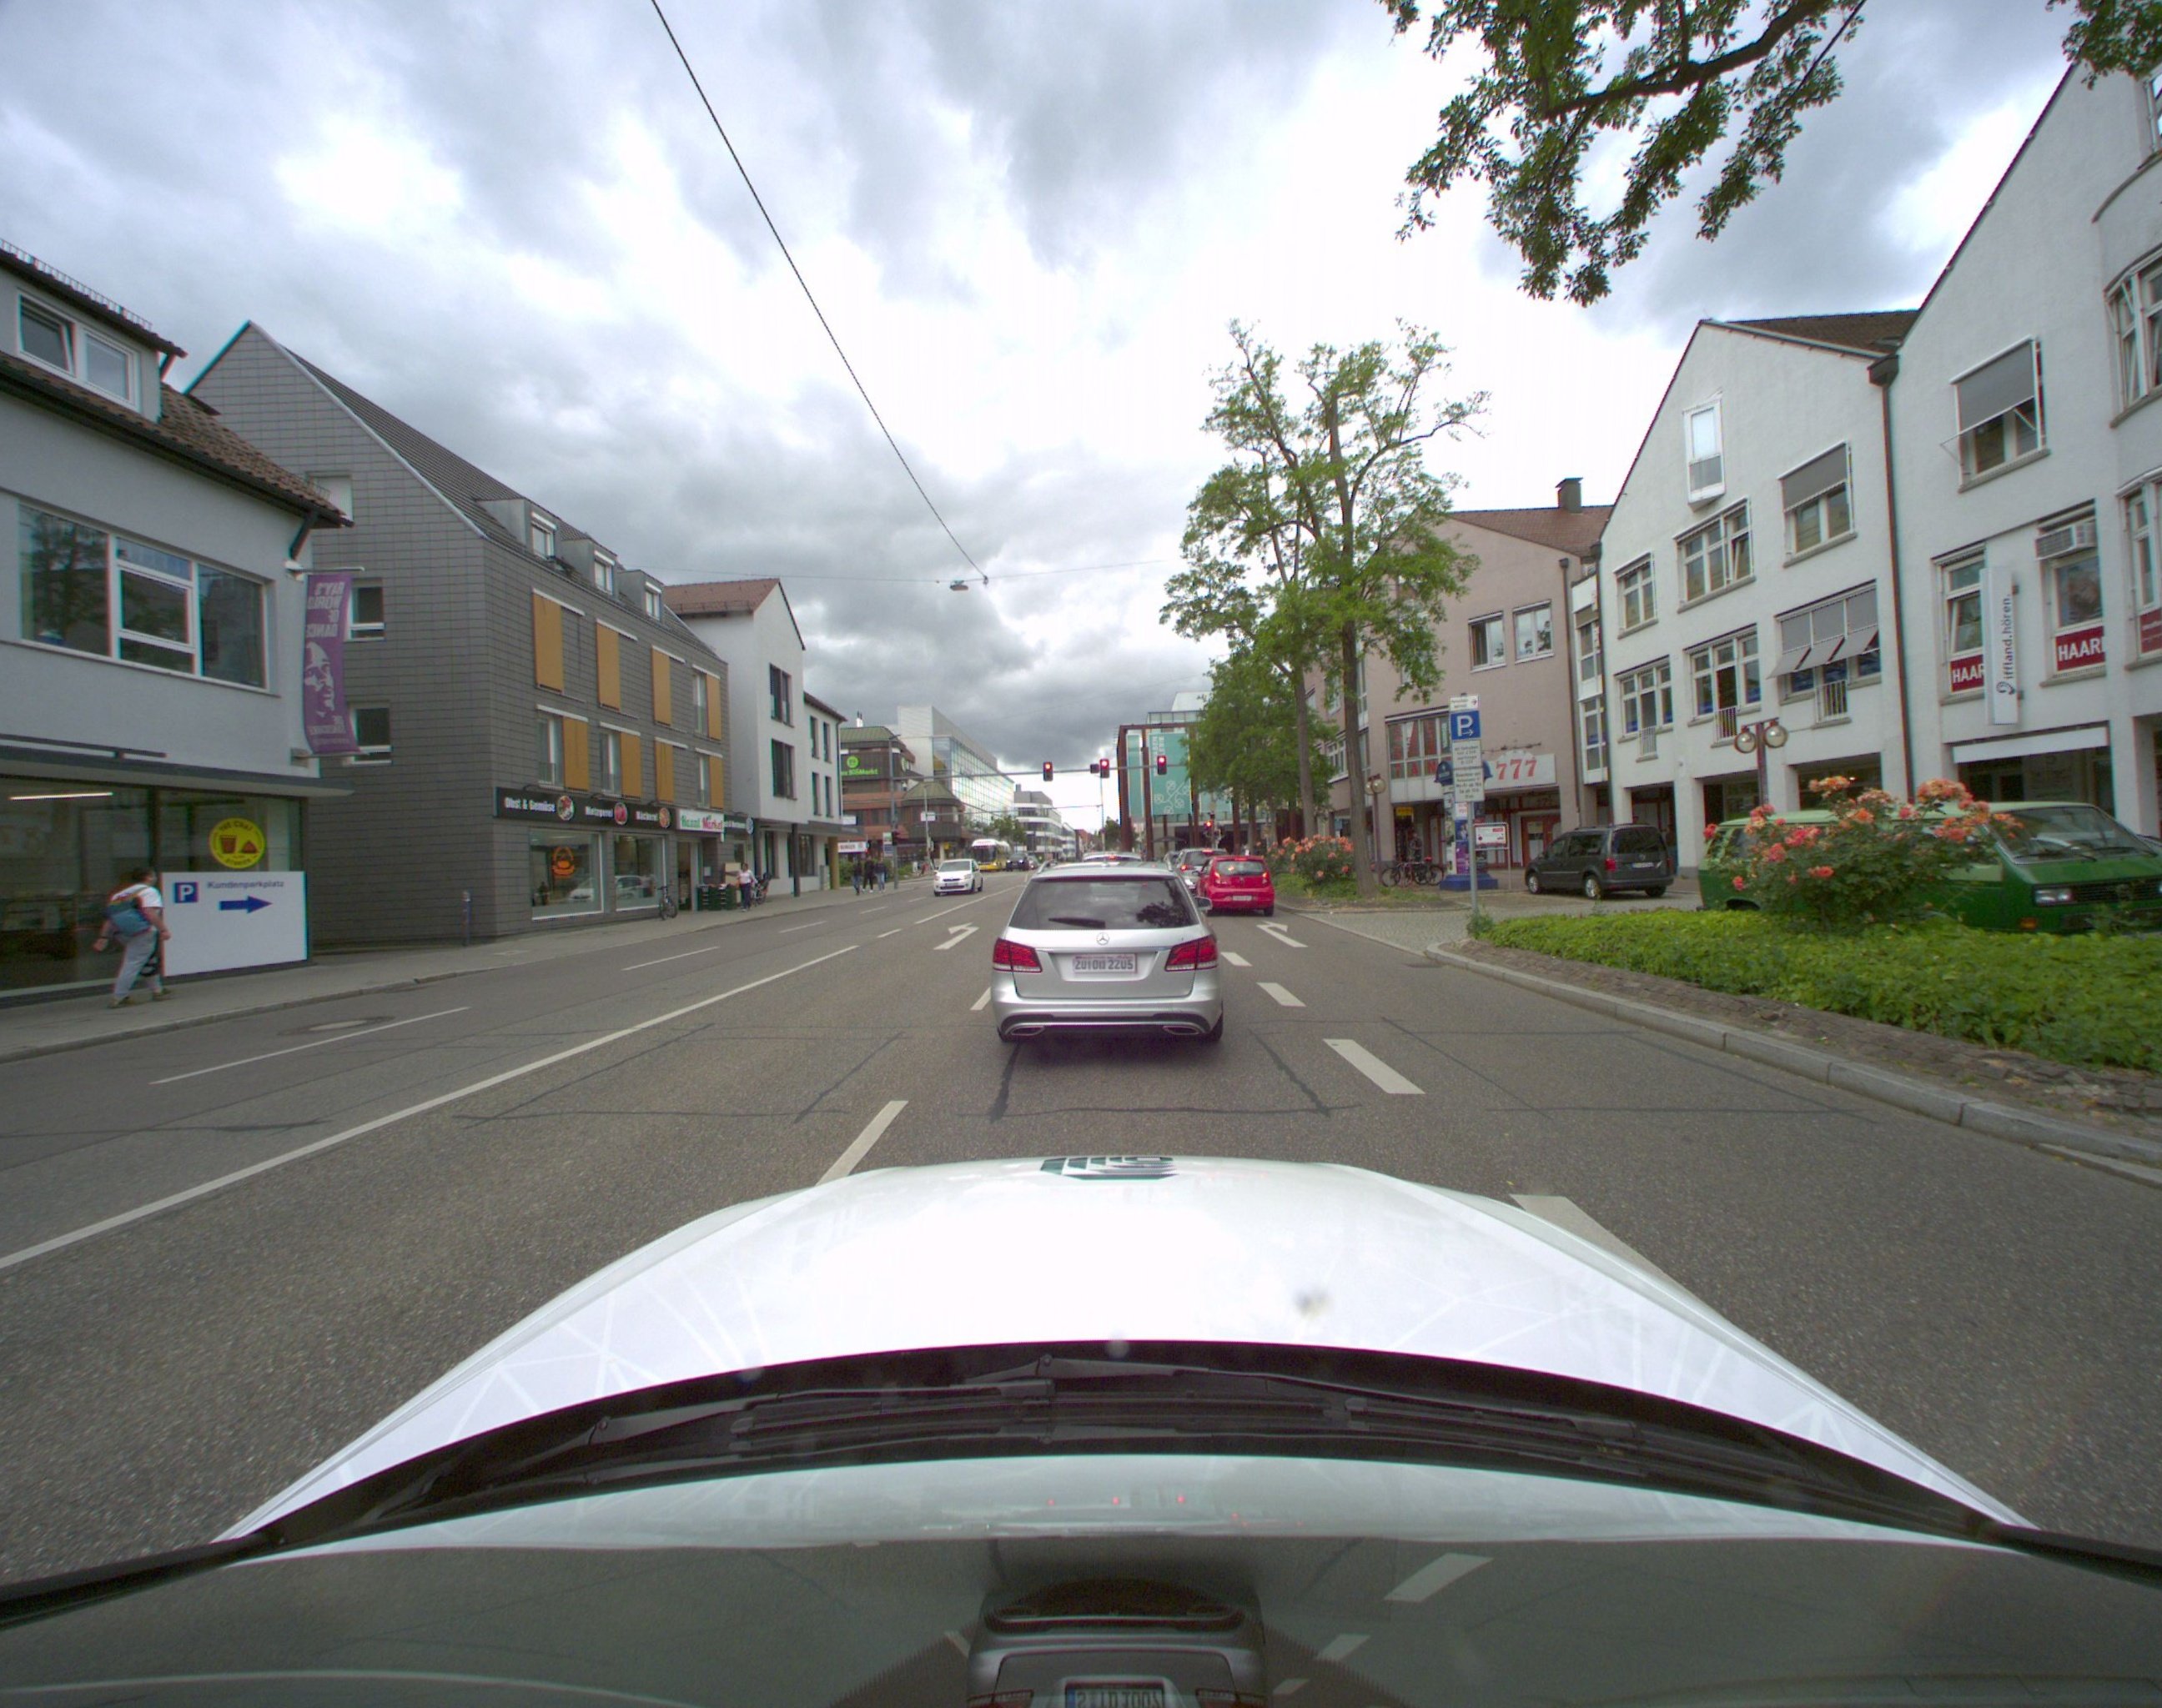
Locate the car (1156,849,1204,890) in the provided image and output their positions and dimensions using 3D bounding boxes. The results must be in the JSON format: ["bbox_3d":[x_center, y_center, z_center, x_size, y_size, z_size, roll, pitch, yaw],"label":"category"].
[{"bbox_3d":[4.068,0.619,33.980,1.581,1.595,3.868,0,0,0],"label":"car"}]

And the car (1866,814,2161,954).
[{"bbox_3d":[13.073,0.305,10.402,1.790,1.542,4.394,-3,0,0],"label":"car"}]

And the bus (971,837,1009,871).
[{"bbox_3d":[-9.343,0.018,84.319,2.677,3.261,8.654,-2,0,1],"label":"bus"}]

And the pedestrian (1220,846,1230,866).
[{"bbox_3d":[12.223,0.199,69.072,0.652,1.650,0.557,-2,0,-13],"label":"pedestrian"}]

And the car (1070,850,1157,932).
[{"bbox_3d":[0.669,0.701,17.087,1.633,1.527,3.395,-1,0,2],"label":"car"}]

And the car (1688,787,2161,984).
[{"bbox_3d":[10.416,0.292,10.353,1.874,1.876,4.605,-3,0,0],"label":"car"}]

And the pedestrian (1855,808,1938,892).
[{"bbox_3d":[16.876,-0.083,16.868,0.786,1.659,0.819,-4,0,1],"label":"pedestrian"}]

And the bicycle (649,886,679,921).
[{"bbox_3d":[-12.255,1.444,23.964,0.325,0.954,1.479,-2,0,-9],"label":"bicycle"}]

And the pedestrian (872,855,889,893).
[{"bbox_3d":[-9.789,0.966,39.735,0.681,1.790,0.647,-2,0,-8],"label":"pedestrian"}]

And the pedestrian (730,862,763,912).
[{"bbox_3d":[-11.172,1.098,27.234,0.725,1.610,0.753,-2,0,2],"label":"pedestrian"}]

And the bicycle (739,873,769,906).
[{"bbox_3d":[-12.347,1.322,30.827,0.385,1.186,1.825,-2,0,-1],"label":"bicycle"}]

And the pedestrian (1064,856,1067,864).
[{"bbox_3d":[-3.151,1.198,164.735,0.514,1.733,0.492,-2,0,34],"label":"pedestrian"}]

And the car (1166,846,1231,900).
[{"bbox_3d":[3.770,0.576,26.707,1.581,1.634,3.916,0,0,0],"label":"car"}]

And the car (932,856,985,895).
[{"bbox_3d":[-5.091,0.870,34.272,1.568,1.488,3.465,-3,0,1],"label":"car"}]

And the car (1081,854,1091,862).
[{"bbox_3d":[1.023,0.904,166.373,1.793,1.540,4.068,-2,0,3],"label":"car"}]

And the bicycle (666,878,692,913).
[{"bbox_3d":[-13.829,1.401,28.019,0.386,1.127,1.286,-2,0,-8],"label":"bicycle"}]

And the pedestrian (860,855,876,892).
[{"bbox_3d":[-10.581,0.965,40.497,0.567,1.775,0.646,-2,0,-5],"label":"pedestrian"}]

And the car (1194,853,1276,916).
[{"bbox_3d":[3.817,0.711,20.648,1.580,1.443,3.350,0,0,2],"label":"car"}]

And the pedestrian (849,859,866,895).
[{"bbox_3d":[-10.424,1.063,38.024,0.651,1.650,0.557,-2,0,-10],"label":"pedestrian"}]

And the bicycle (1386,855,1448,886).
[{"bbox_3d":[11.707,0.585,28.398,1.891,0.997,0.468,-2,0,6],"label":"bicycle"}]

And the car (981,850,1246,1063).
[{"bbox_3d":[0.304,0.711,7.758,1.808,1.448,4.372,0,0,2],"label":"car"}]

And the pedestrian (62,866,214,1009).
[{"bbox_3d":[-11.906,1.013,10.322,0.751,1.705,0.981,1,0,2],"label":"pedestrian"}]

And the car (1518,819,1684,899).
[{"bbox_3d":[13.468,0.121,21.402,1.633,1.831,3.964,-3,0,-2],"label":"car"}]

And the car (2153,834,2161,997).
[{"bbox_3d":[10.484,0.513,5.078,1.757,1.450,4.418,-2,0,0],"label":"car"}]

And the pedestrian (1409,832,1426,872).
[{"bbox_3d":[15.673,-0.099,37.890,0.644,1.834,0.614,-2,0,24],"label":"pedestrian"}]

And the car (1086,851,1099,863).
[{"bbox_3d":[1.883,0.438,134.222,1.986,1.949,4.951,-2,0,1],"label":"car"}]

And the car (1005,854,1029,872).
[{"bbox_3d":[-6.380,0.847,81.464,1.987,1.706,4.065,-2,0,1],"label":"car"}]

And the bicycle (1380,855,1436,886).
[{"bbox_3d":[11.628,0.584,28.955,1.759,0.997,0.447,-2,0,6],"label":"bicycle"}]

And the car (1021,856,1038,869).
[{"bbox_3d":[-5.650,0.938,89.029,1.550,1.392,3.288,-2,0,1],"label":"car"}]
